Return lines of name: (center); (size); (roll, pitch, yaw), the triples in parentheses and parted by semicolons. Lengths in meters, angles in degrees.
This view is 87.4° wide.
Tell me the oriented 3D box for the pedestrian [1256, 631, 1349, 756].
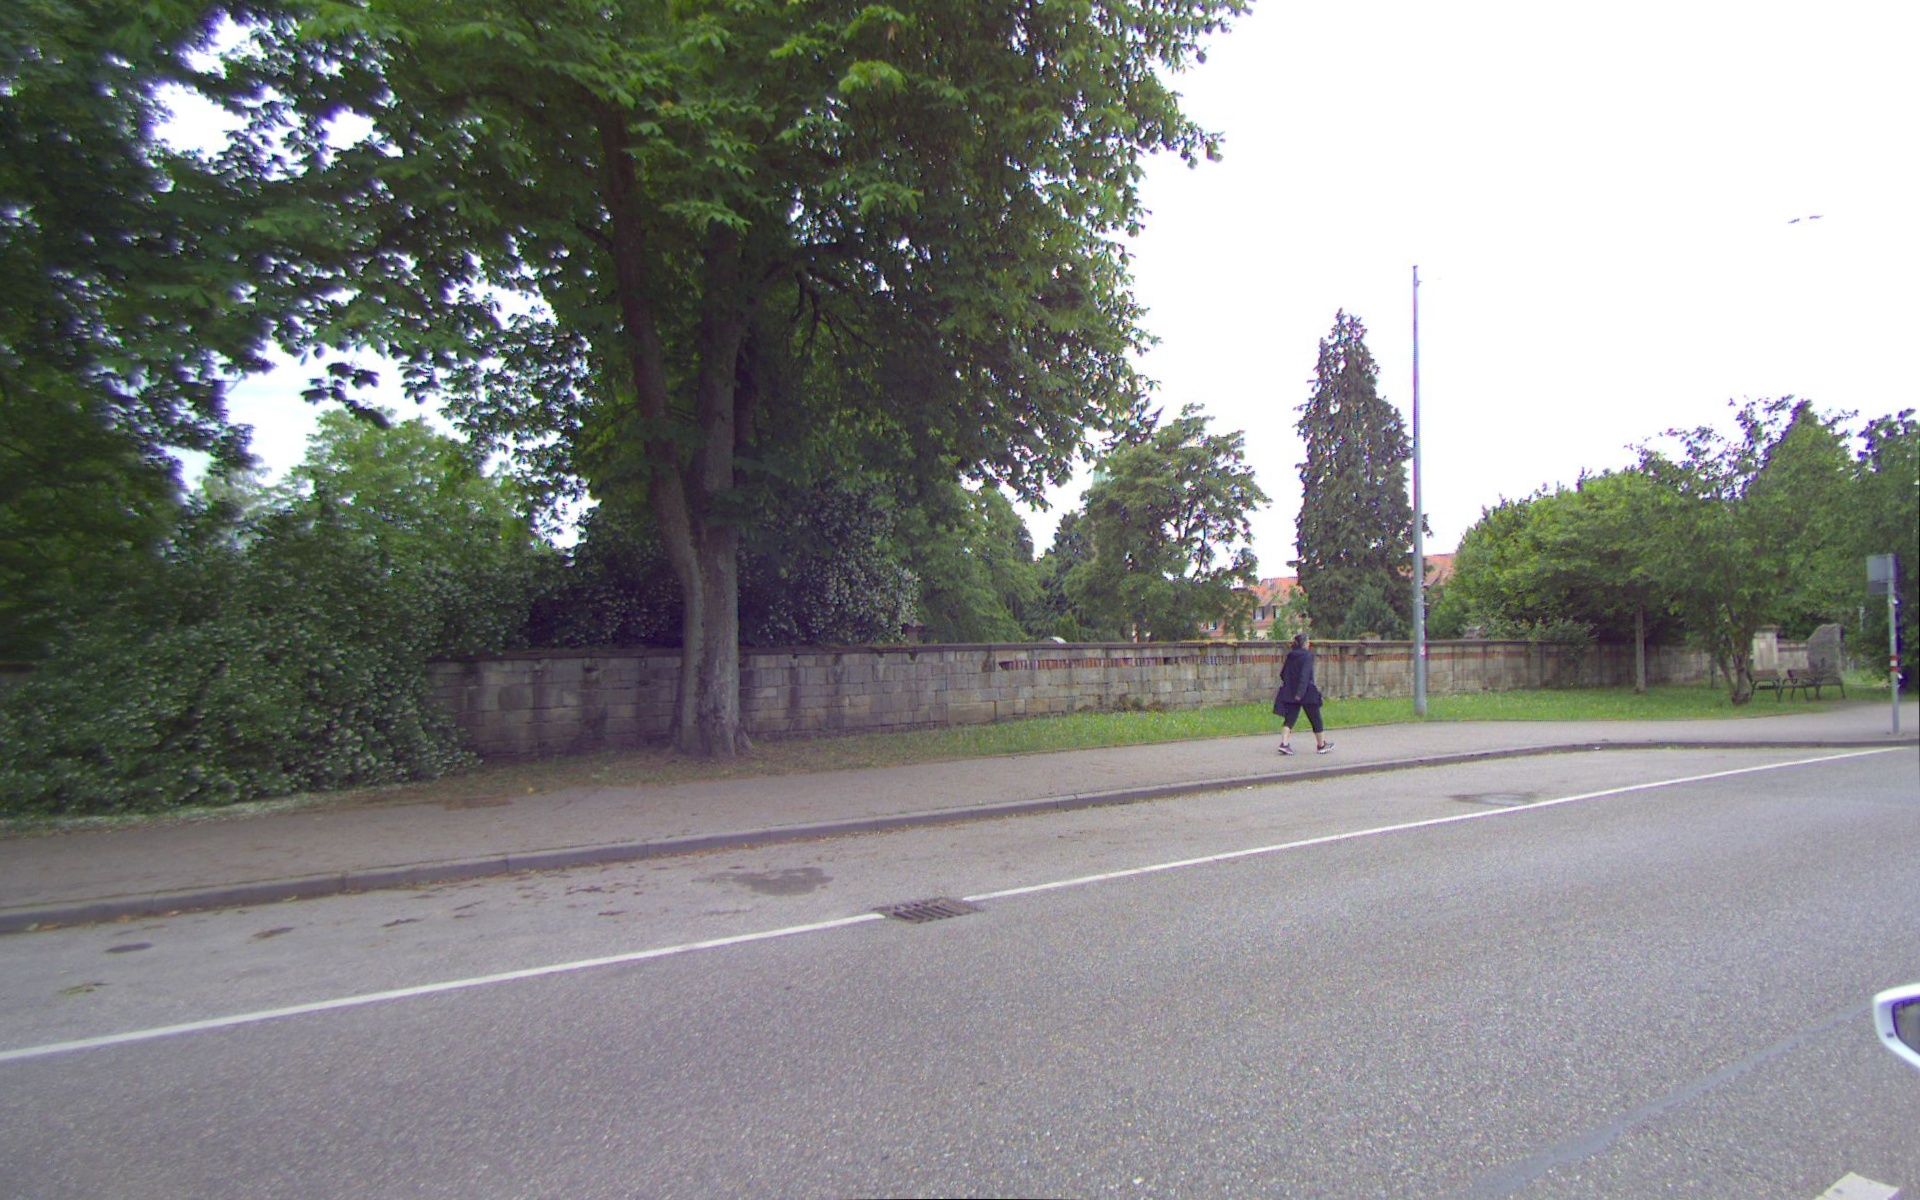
pedestrian: (4.599, 1.225, 13.493); (0.955, 1.599, 0.745); (1, -1, -30)
